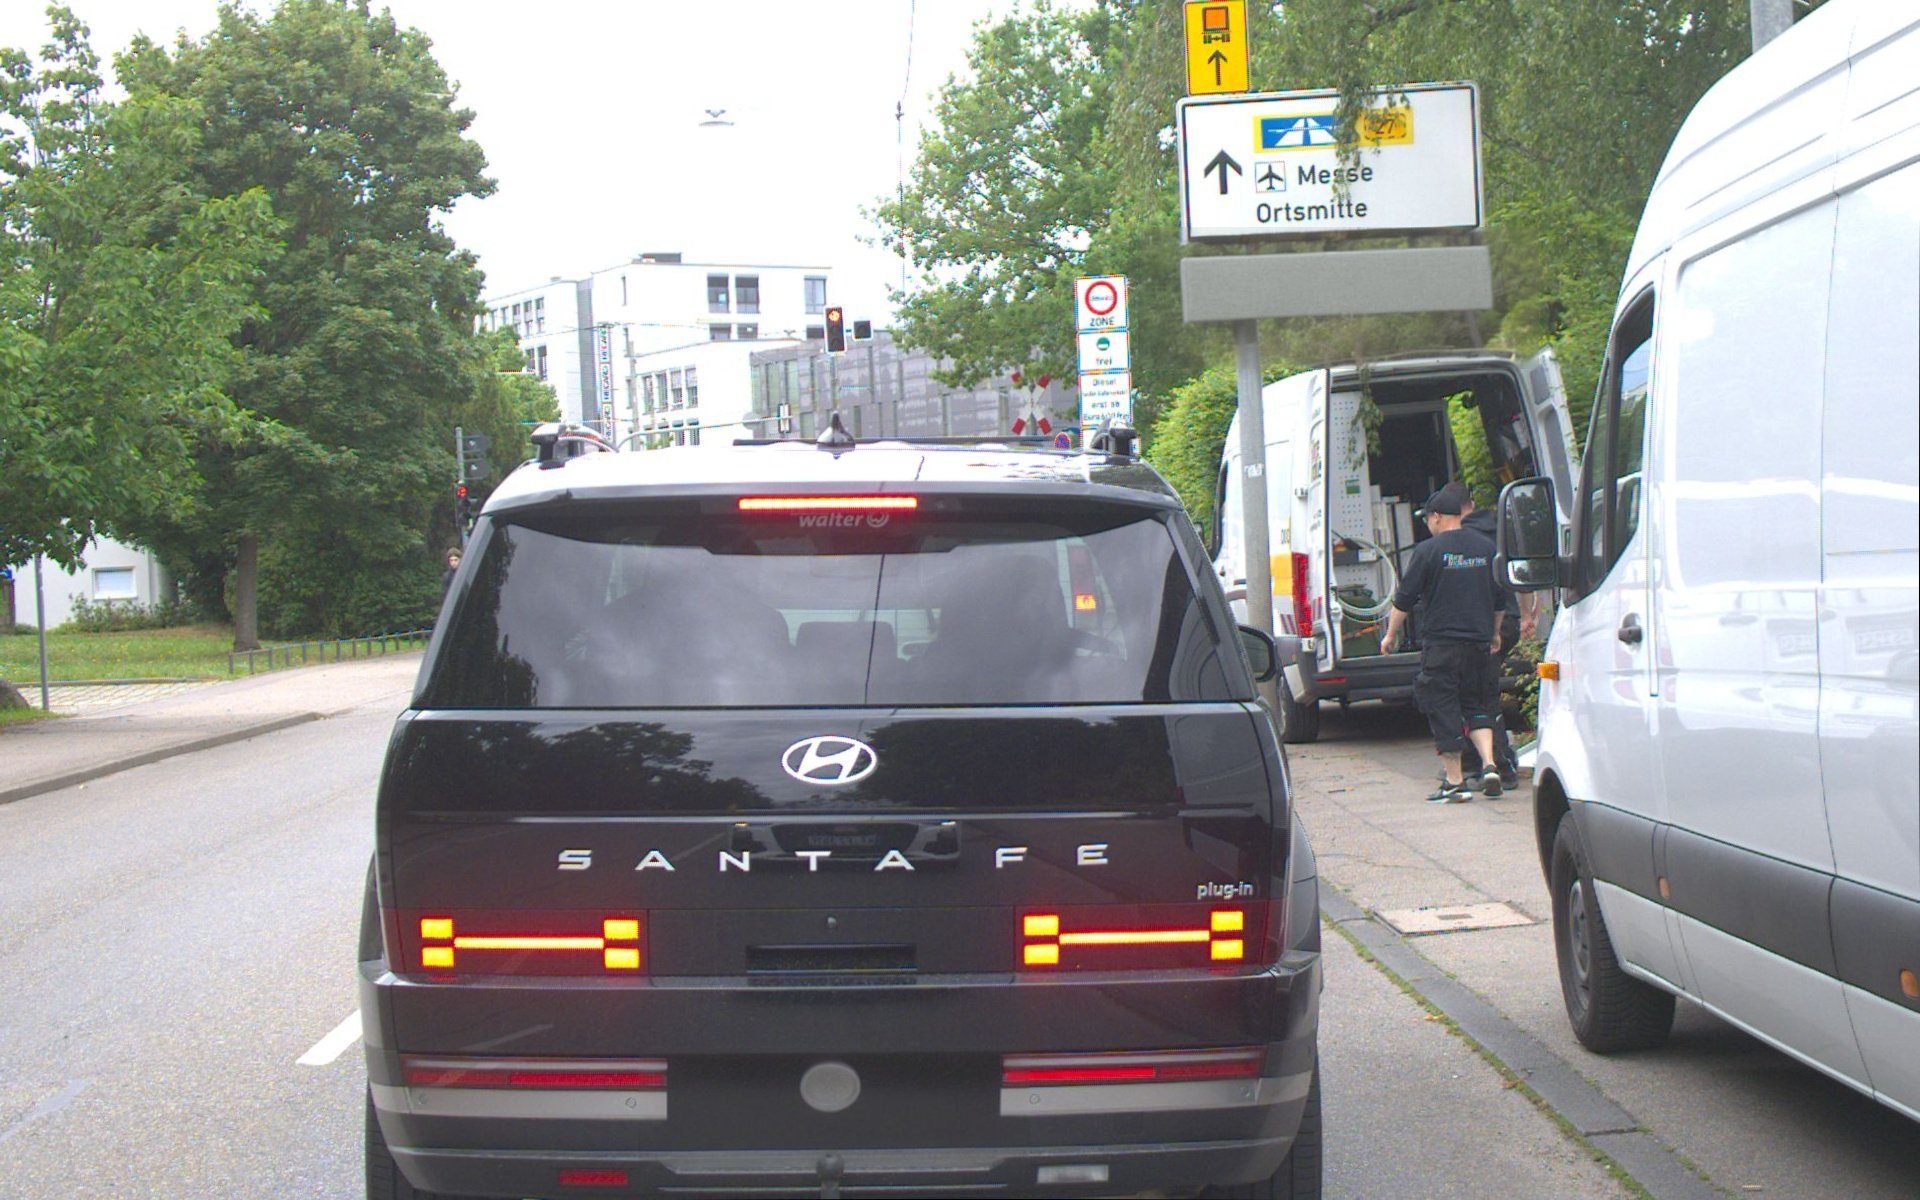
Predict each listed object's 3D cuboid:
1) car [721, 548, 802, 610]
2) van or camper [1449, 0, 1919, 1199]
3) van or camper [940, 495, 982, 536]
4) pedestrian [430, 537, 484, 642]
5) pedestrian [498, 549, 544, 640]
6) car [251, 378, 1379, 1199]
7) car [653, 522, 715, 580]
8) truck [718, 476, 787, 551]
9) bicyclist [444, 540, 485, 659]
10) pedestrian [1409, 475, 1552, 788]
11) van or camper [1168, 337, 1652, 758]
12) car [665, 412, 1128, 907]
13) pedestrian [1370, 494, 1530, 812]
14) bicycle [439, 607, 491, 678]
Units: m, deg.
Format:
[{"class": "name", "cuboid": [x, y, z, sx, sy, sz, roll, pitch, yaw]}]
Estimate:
[{"class": "car", "cuboid": [-4.974, -0.532, 86.611, 1.756, 1.398, 4.414, -4, 1, -1]}, {"class": "van or camper", "cuboid": [2.590, -0.017, 6.976, 1.991, 2.616, 6.544, -5, 1, -1]}, {"class": "van or camper", "cuboid": [0.037, -4.229, 172.459, 1.795, 1.992, 3.824, 1, 1, -4]}, {"class": "pedestrian", "cuboid": [-9.714, -0.208, 66.381, 0.830, 2.007, 1.047, 1, 0, 2]}, {"class": "pedestrian", "cuboid": [-8.518, -0.106, 66.745, 0.767, 1.742, 0.904, -1, 0, 0]}, {"class": "car", "cuboid": [-0.271, 0.503, 7.844, 1.897, 1.770, 3.994, 1, 1, -1]}, {"class": "car", "cuboid": [-11.594, -2.056, 144.172, 2.332, 2.307, 4.959, -2, 1, -6]}, {"class": "truck", "cuboid": [-11.329, -4.650, 187.158, 3.107, 3.846, 9.623, -2, 1, -6]}, {"class": "bicyclist", "cuboid": [-7.077, -0.014, 49.135, 0.487, 1.678, 0.588, 1, 0, -1]}, {"class": "pedestrian", "cuboid": [2.927, 0.169, 19.399, 0.750, 1.715, 0.791, 1, 0, 7]}, {"class": "van or camper", "cuboid": [3.074, -0.332, 25.249, 2.340, 2.486, 6.603, -5, 0, -1]}, {"class": "car", "cuboid": [-0.286, 0.230, 16.319, 1.897, 2.035, 3.994, 1, 1, -1]}, {"class": "pedestrian", "cuboid": [2.623, 0.278, 18.480, 0.736, 1.638, 0.801, -3, 0, 6]}, {"class": "bicycle", "cuboid": [-7.084, 0.602, 49.211, 0.495, 0.961, 1.748, 1, 1, -1]}]
